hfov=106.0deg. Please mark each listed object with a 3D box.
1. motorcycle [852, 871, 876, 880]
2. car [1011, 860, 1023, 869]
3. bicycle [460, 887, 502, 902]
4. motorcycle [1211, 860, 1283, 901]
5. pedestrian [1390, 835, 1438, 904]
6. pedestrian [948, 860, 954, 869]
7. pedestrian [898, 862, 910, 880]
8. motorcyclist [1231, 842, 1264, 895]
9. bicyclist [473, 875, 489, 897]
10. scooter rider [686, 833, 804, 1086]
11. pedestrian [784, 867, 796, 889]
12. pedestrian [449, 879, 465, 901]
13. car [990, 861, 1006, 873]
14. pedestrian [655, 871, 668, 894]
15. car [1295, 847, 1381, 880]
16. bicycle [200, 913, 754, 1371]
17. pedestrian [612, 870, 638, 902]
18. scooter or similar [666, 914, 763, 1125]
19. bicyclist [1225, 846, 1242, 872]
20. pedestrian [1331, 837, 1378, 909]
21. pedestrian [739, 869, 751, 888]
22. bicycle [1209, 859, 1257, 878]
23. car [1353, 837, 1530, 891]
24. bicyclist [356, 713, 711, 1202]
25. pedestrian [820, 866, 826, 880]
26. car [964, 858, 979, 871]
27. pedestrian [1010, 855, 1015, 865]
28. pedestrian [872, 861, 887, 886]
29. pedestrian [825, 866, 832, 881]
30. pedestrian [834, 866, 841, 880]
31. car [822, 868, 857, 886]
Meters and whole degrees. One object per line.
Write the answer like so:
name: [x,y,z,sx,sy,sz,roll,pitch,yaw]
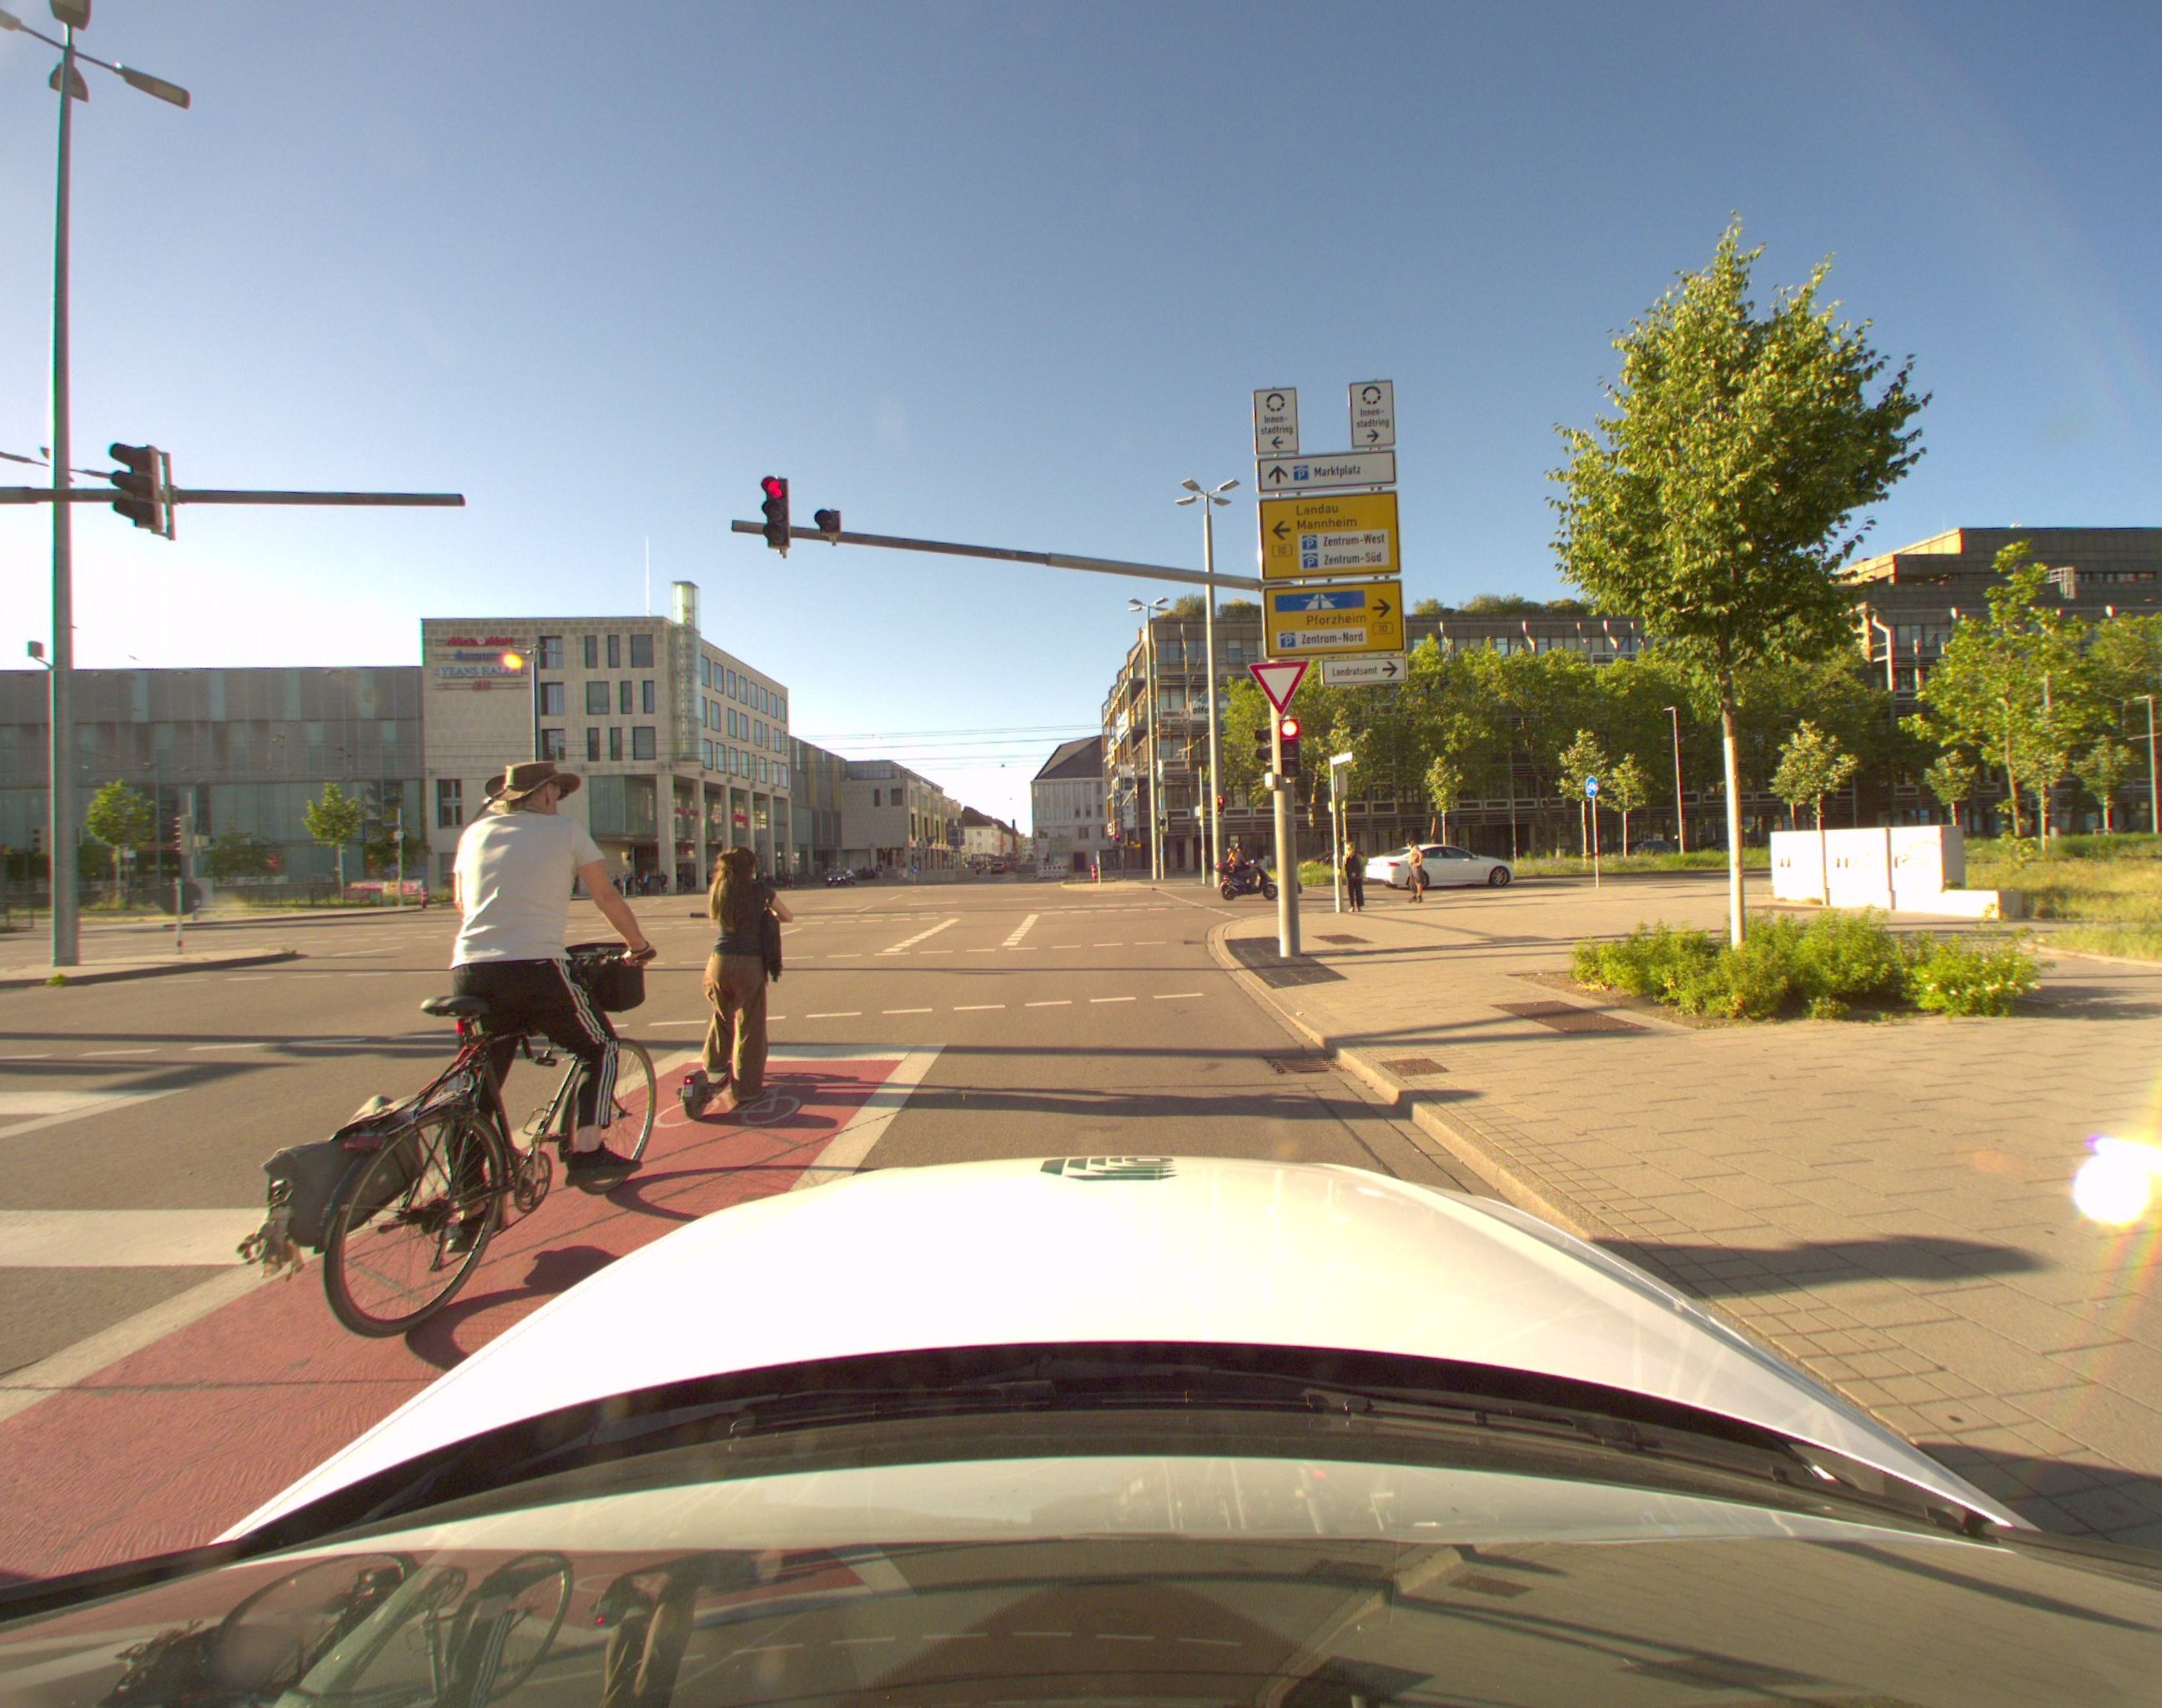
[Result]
motorcycle: [-26.255,2.628,98.580,2.600,0.993,1.113,0,-1,-8]
car: [-11.466,1.822,146.532,1.652,1.458,3.543,-2,0,2]
bicycle: [-40.376,2.727,54.816,2.213,0.903,0.635,-2,0,-13]
motorcycle: [4.822,0.749,23.701,1.952,1.100,0.648,-2,0,-6]
pedestrian: [8.591,0.389,21.028,0.869,1.706,0.768,-2,0,0]
pedestrian: [-22.486,1.770,141.064,0.678,1.598,0.841,-2,0,11]
pedestrian: [-17.396,1.676,80.097,0.896,1.782,0.809,-2,0,1]
motorcyclist: [4.853,0.415,23.708,0.748,1.479,0.598,-2,0,-6]
bicyclist: [-40.375,2.159,54.827,0.587,1.448,0.626,-2,0,-10]
scooter rider: [-2.142,0.646,5.241,0.552,1.530,0.448,-2,0,-7]
pedestrian: [-23.011,1.906,64.408,0.697,1.688,0.620,-2,0,2]
pedestrian: [-44.741,2.577,58.416,0.590,1.541,0.629,-2,0,1]
car: [-11.017,1.749,108.526,1.652,1.458,3.543,-2,0,2]
pedestrian: [-30.773,2.120,59.699,0.590,1.646,0.629,-2,0,1]
car: [14.548,0.528,46.215,4.287,1.684,1.820,-2,0,-9]
bicycle: [-2.104,0.889,3.265,0.736,1.147,1.891,-2,0,2]
pedestrian: [-25.122,1.765,44.909,0.821,1.675,1.004,-2,0,-2]
scooter or similar: [-2.216,0.958,4.987,0.306,1.107,0.835,-2,0,-9]
bicyclist: [8.821,0.307,47.070,0.820,1.474,0.652,-2,0,-2]
pedestrian: [6.340,0.436,18.938,0.763,1.614,0.874,-2,0,0]
pedestrian: [-29.897,2.152,72.441,0.771,1.638,0.628,-2,0,11]
bicycle: [8.749,0.817,47.055,2.561,0.975,1.047,-2,0,-1]
car: [11.863,0.305,26.949,5.082,1.564,1.994,-2,0,-9]
bicyclist: [-2.125,0.365,3.296,0.802,1.700,0.852,-2,0,1]
pedestrian: [-32.121,2.406,101.291,0.465,1.729,0.524,-1,-1,40]
car: [-15.085,1.432,111.844,1.817,1.684,3.992,-2,0,-5]
pedestrian: [-13.902,1.189,165.261,0.907,1.965,0.823,0,-1,1]
pedestrian: [-15.819,1.519,63.847,0.935,1.864,0.541,-2,0,18]
pedestrian: [-30.950,2.386,99.893,0.465,1.729,0.632,-1,-1,35]
pedestrian: [-30.095,2.387,100.782,0.465,1.729,0.699,-1,-1,40]
car: [-20.824,1.941,70.359,1.670,1.357,4.021,-2,0,1]
